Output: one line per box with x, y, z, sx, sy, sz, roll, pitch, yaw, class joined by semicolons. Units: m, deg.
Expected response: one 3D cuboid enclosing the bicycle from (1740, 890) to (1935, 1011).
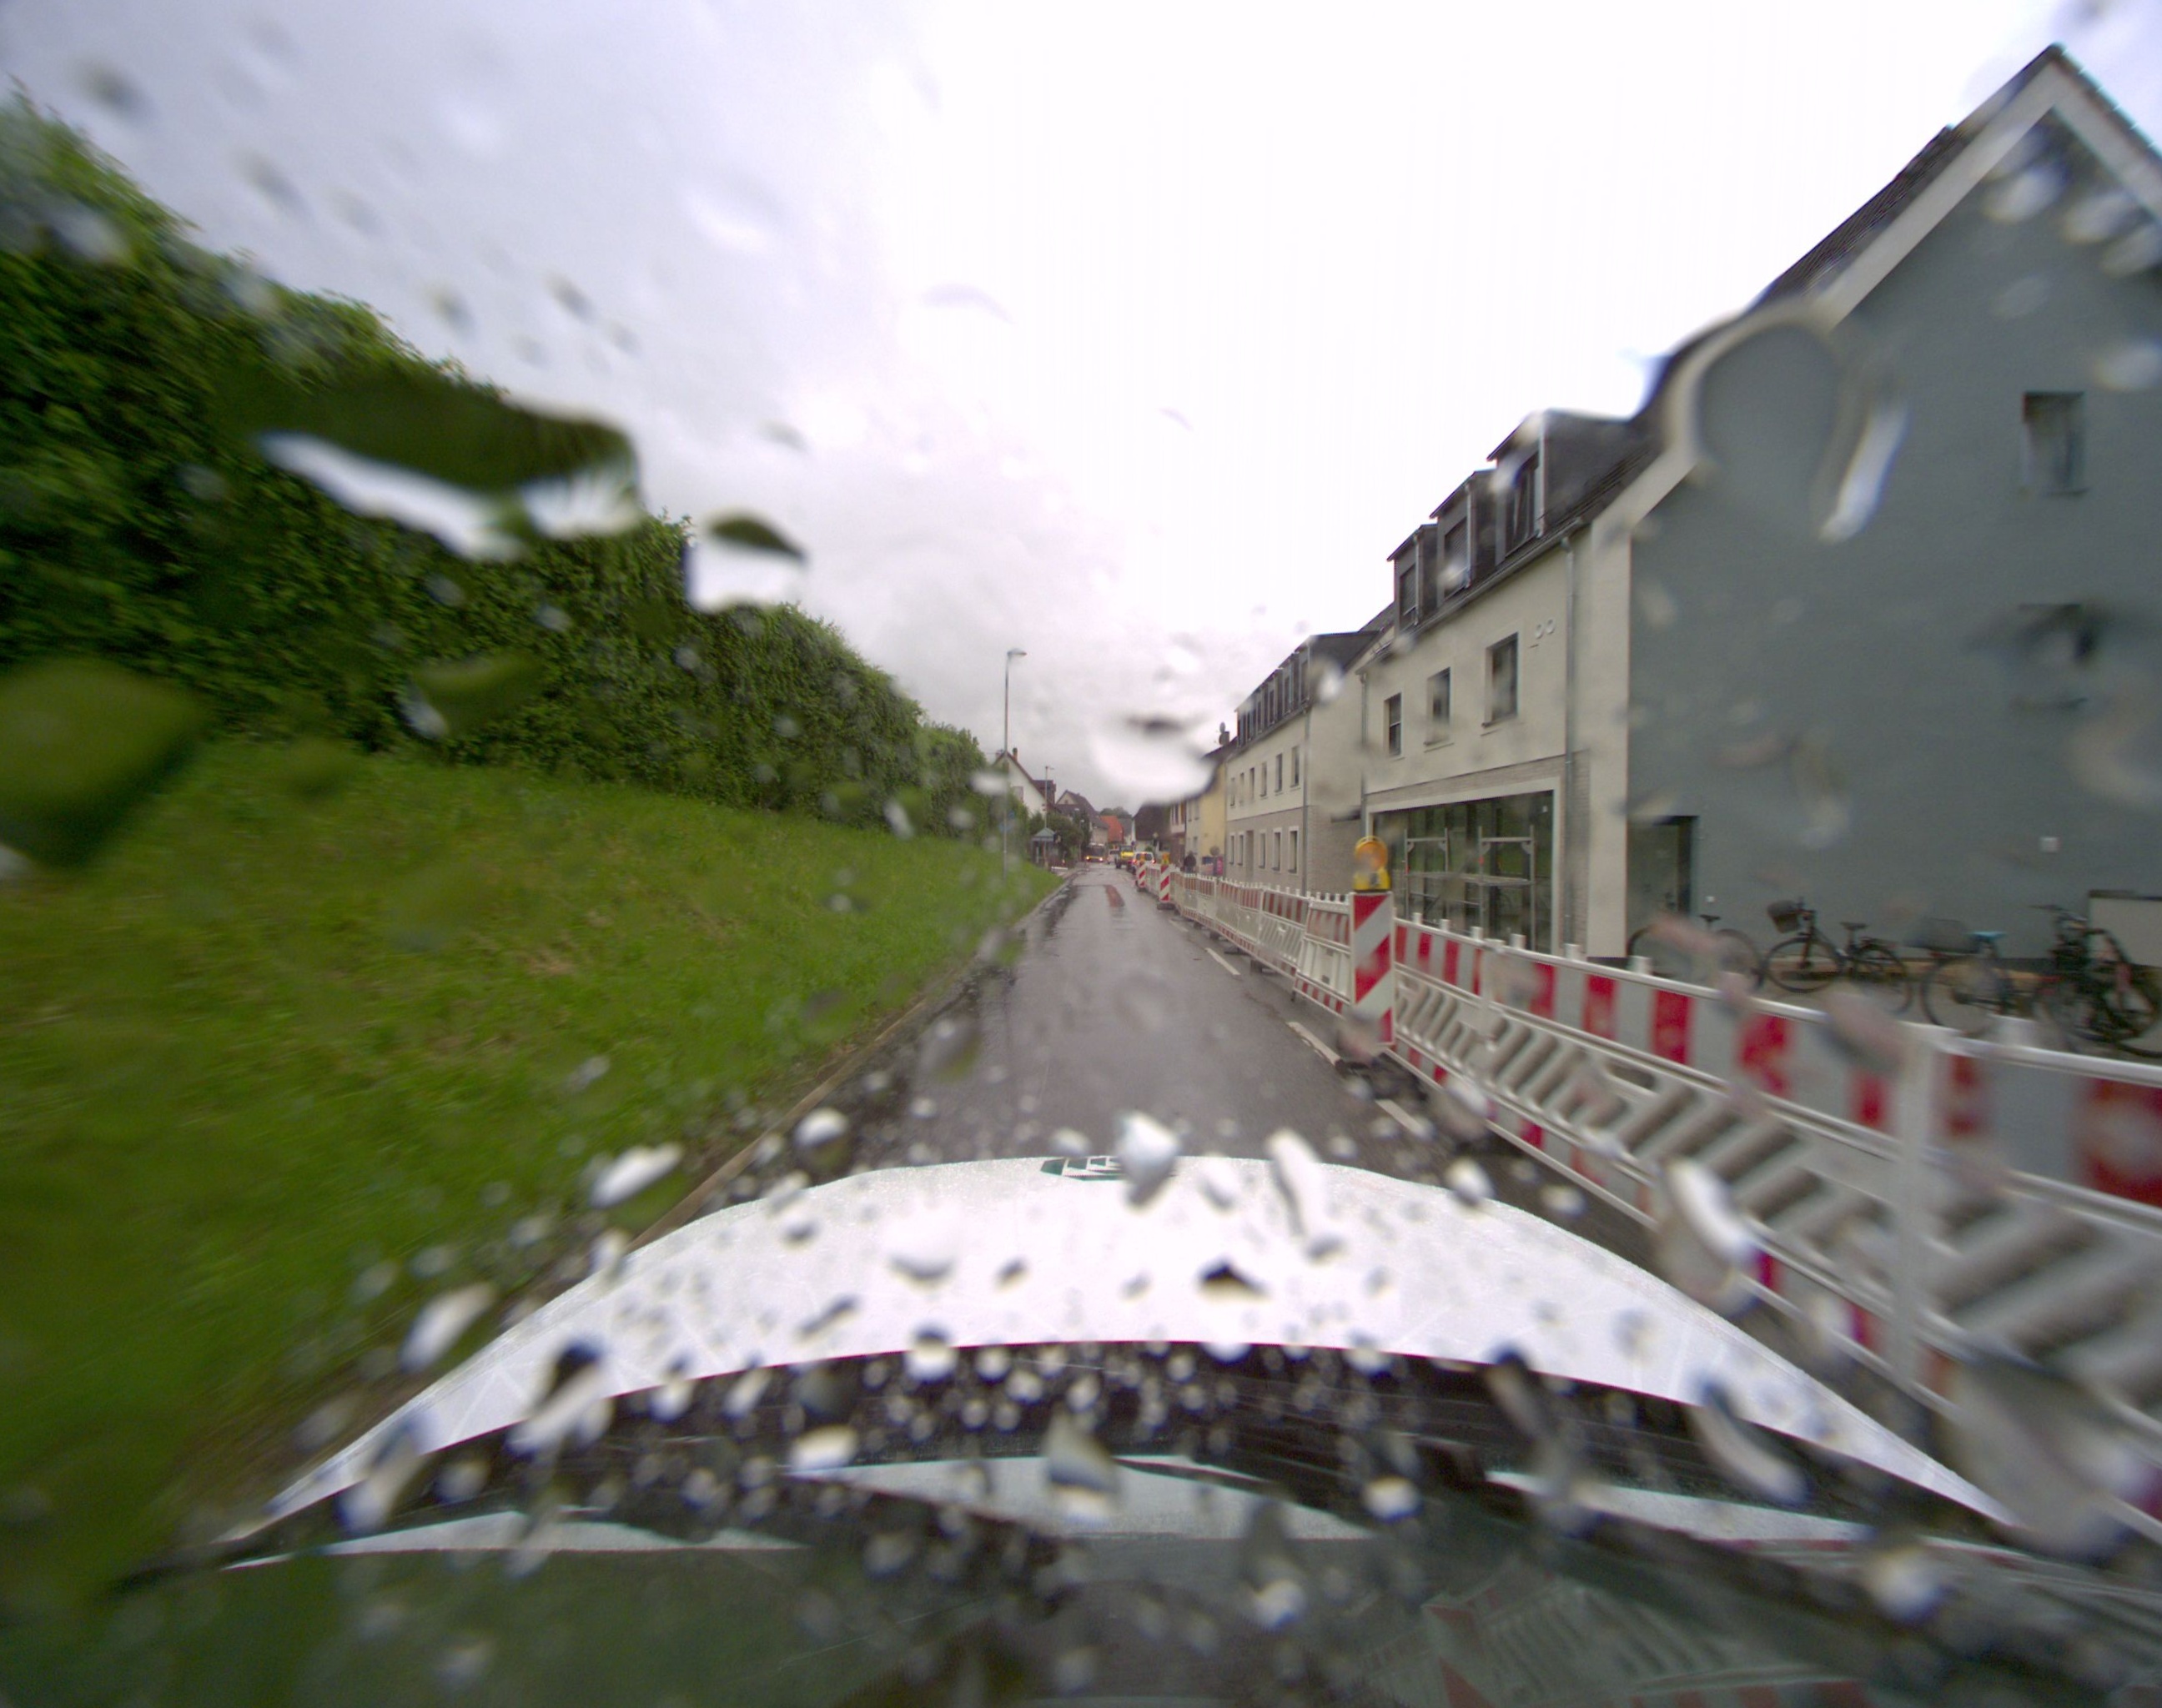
8.097;0.980;8.832;0.516;1.103;1.790;2;-1;3;bicycle

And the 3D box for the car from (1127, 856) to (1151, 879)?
5.217;1.212;73.963;1.986;2.014;4.001;2;-1;2;car

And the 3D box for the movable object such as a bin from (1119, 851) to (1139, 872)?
5.122;0.805;87.336;1.986;2.173;4.002;2;-1;2;movable object such as a bin

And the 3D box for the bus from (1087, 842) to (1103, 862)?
2.280;-0.255;130.422;2.232;3.103;7.036;2;0;3;bus

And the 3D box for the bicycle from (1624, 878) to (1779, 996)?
7.276;0.918;9.661;0.516;1.220;1.790;2;-1;3;bicycle

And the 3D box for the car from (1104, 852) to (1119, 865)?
4.087;0.589;109.016;1.811;1.642;4.096;2;0;1;car

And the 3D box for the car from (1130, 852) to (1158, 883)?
5.126;1.074;66.321;1.986;2.375;4.096;2;-1;1;car

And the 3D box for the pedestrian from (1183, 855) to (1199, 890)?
5.677;0.949;42.120;0.663;1.755;0.812;2;-1;1;pedestrian
